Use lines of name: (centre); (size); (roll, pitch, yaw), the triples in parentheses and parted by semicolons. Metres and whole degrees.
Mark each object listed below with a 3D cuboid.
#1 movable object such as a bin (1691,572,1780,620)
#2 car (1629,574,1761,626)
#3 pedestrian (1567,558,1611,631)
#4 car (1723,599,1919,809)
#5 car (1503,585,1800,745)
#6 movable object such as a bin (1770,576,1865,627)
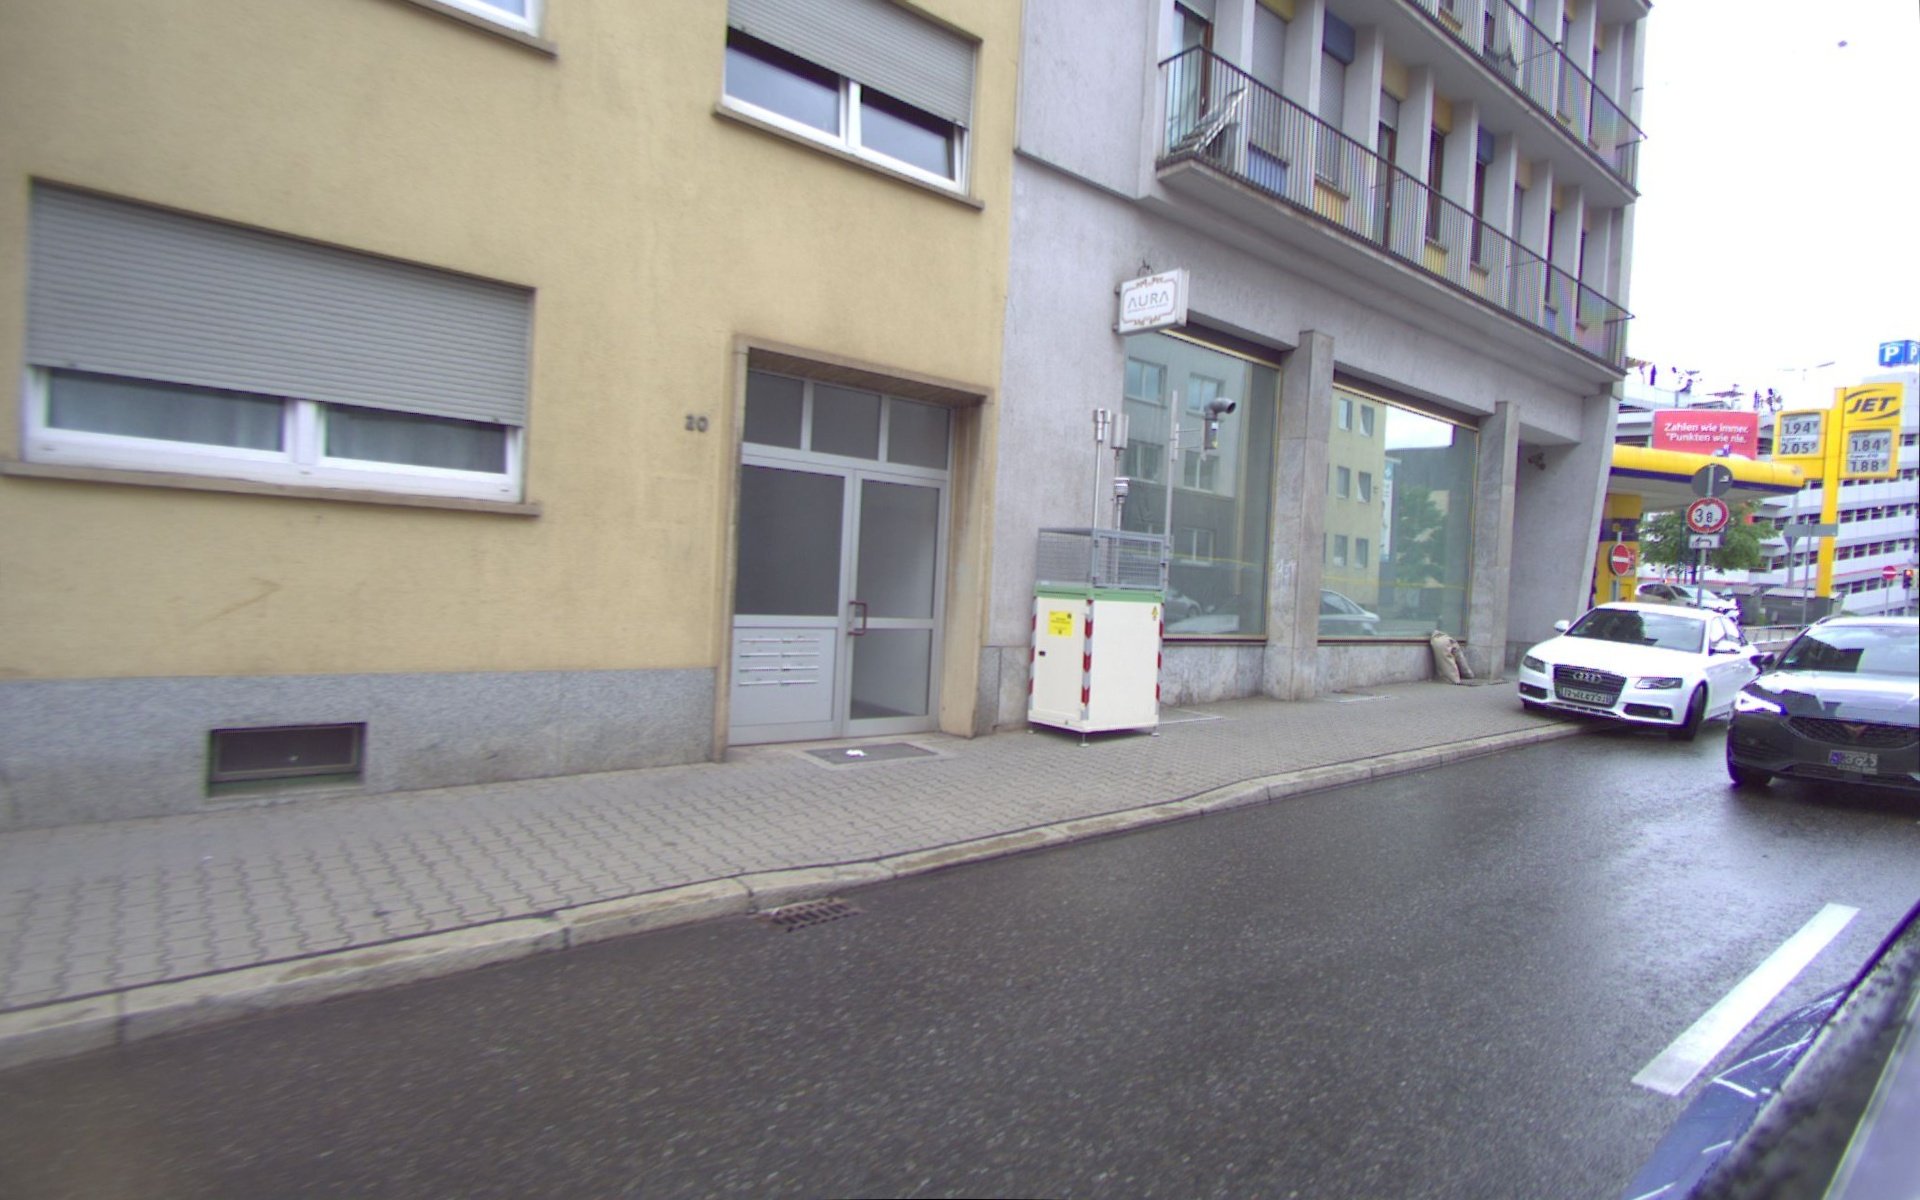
movable object such as a bin: (28.480, -0.155, 37.195); (1.741, 1.574, 2.162); (1, 4, -39)
car: (25.266, -0.050, 34.961); (1.715, 1.459, 3.998); (3, 4, 4)
pedestrian: (16.069, -0.152, 25.863); (0.649, 1.792, 0.529); (4, 4, 9)
car: (8.158, 0.747, 8.538); (4.500, 1.405, 1.738); (1, 1, -39)
car: (8.731, 0.687, 12.610); (4.529, 1.418, 1.899); (1, 7, -42)
movable object such as a bin: (29.971, 0.045, 35.380); (1.741, 1.593, 2.162); (1, 3, -39)
